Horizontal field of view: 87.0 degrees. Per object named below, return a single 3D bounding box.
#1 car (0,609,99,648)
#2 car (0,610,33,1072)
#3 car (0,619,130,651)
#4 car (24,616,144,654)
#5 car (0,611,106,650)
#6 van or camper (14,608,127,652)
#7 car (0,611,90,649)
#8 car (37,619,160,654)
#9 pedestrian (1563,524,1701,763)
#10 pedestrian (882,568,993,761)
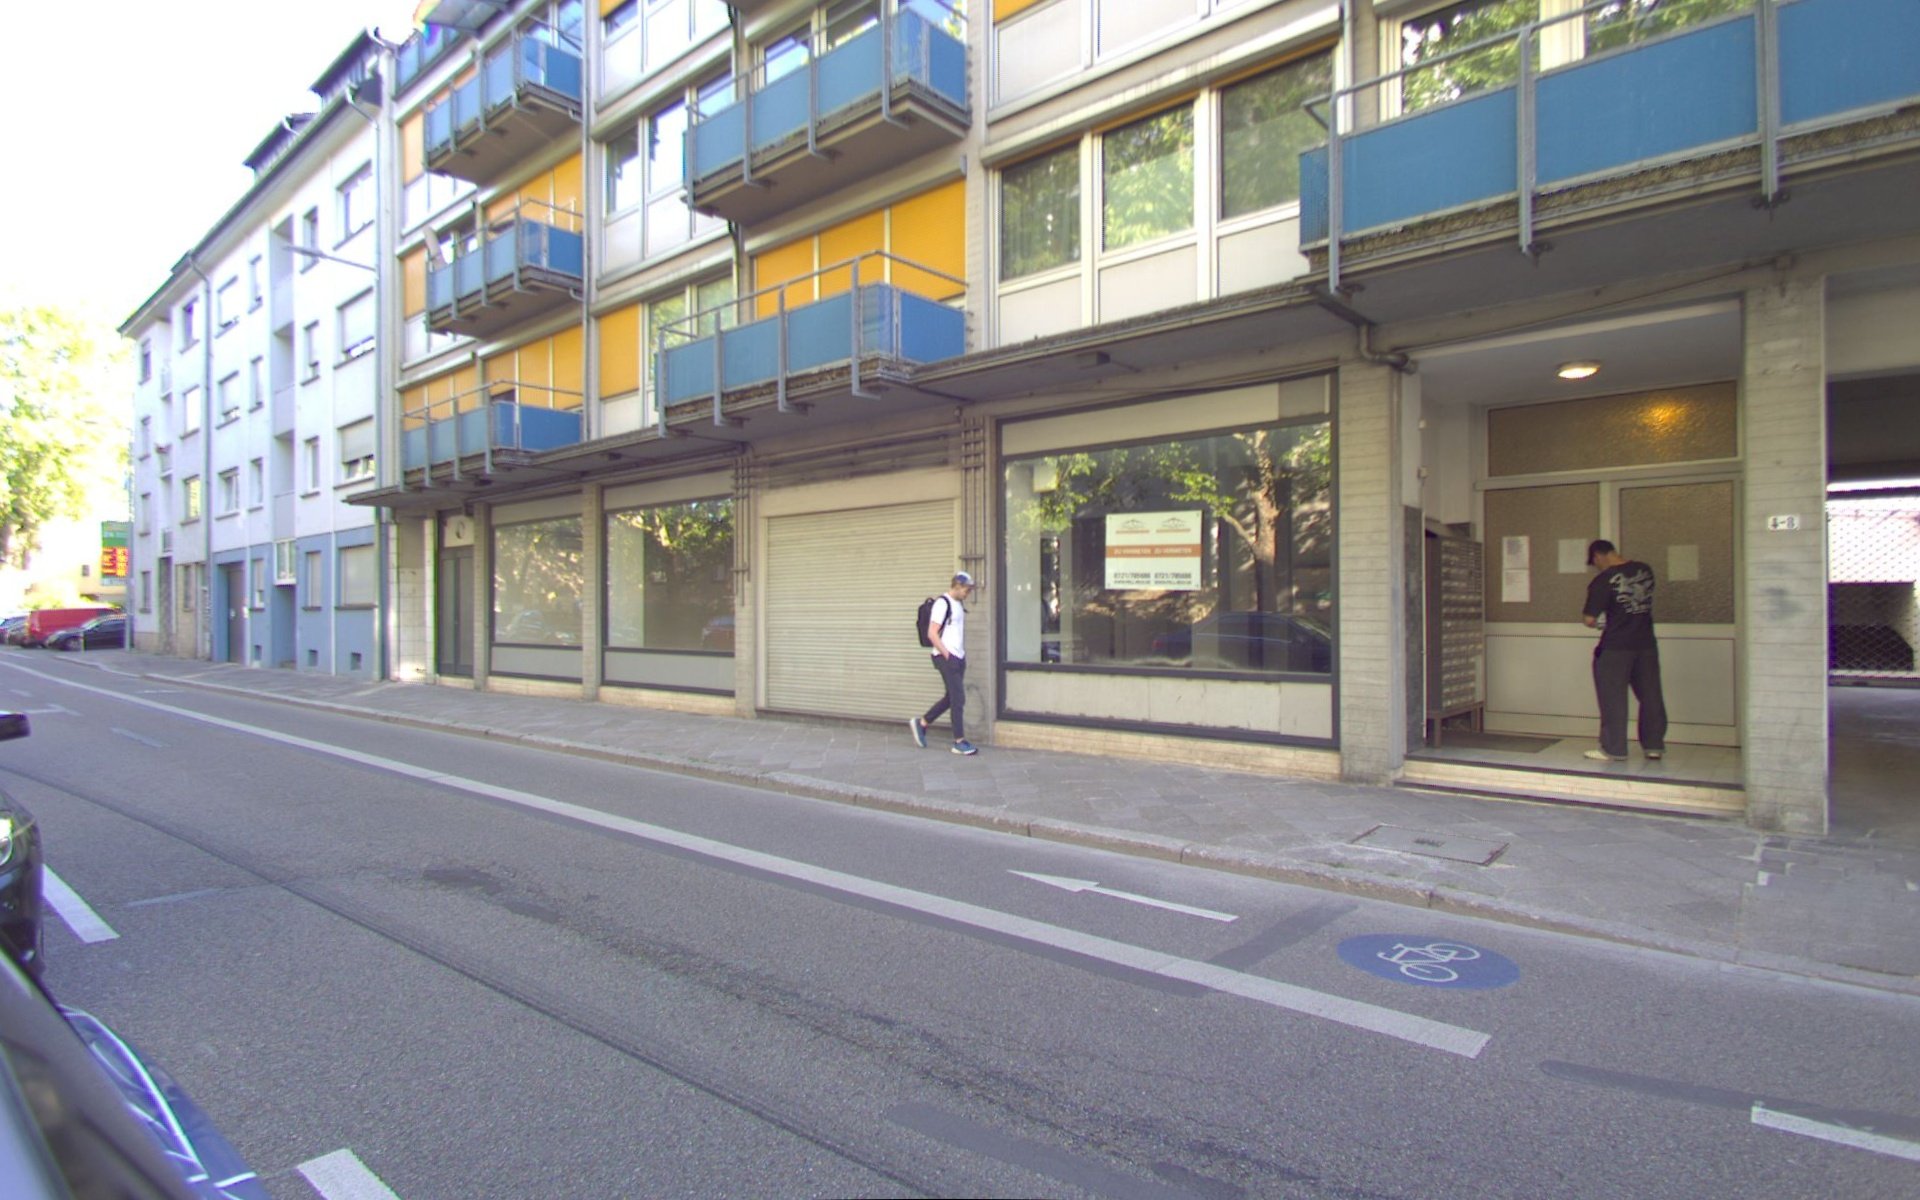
[{"bbox_3d":[-55.406,1.686,61.144,1.999,2.210,4.927,-1,-1,41],"label":"car"},{"bbox_3d":[-5.025,0.797,3.868,3.861,1.467,1.718,-1,-1,40],"label":"car"},{"bbox_3d":[-45.725,1.763,51.695,1.999,1.506,4.927,-1,-1,41],"label":"car"},{"bbox_3d":[-41.637,1.632,48.161,1.999,1.703,4.093,-1,-1,41],"label":"car"},{"bbox_3d":[-53.319,1.750,59.193,1.999,2.210,4.927,-1,-1,41],"label":"car"},{"bbox_3d":[-43.893,1.443,50.003,1.999,2.029,3.946,-1,-1,40],"label":"van or camper"},{"bbox_3d":[-57.400,1.836,62.854,1.999,2.210,4.927,-1,-1,41],"label":"car"},{"bbox_3d":[-39.756,1.644,46.776,1.999,1.506,4.093,-1,-1,41],"label":"car"},{"bbox_3d":[5.086,0.317,7.677,0.650,1.726,0.550,0,-1,-16],"label":"pedestrian"},{"bbox_3d":[-0.226,0.607,10.014,0.879,1.813,0.593,-1,0,41],"label":"pedestrian"}]
